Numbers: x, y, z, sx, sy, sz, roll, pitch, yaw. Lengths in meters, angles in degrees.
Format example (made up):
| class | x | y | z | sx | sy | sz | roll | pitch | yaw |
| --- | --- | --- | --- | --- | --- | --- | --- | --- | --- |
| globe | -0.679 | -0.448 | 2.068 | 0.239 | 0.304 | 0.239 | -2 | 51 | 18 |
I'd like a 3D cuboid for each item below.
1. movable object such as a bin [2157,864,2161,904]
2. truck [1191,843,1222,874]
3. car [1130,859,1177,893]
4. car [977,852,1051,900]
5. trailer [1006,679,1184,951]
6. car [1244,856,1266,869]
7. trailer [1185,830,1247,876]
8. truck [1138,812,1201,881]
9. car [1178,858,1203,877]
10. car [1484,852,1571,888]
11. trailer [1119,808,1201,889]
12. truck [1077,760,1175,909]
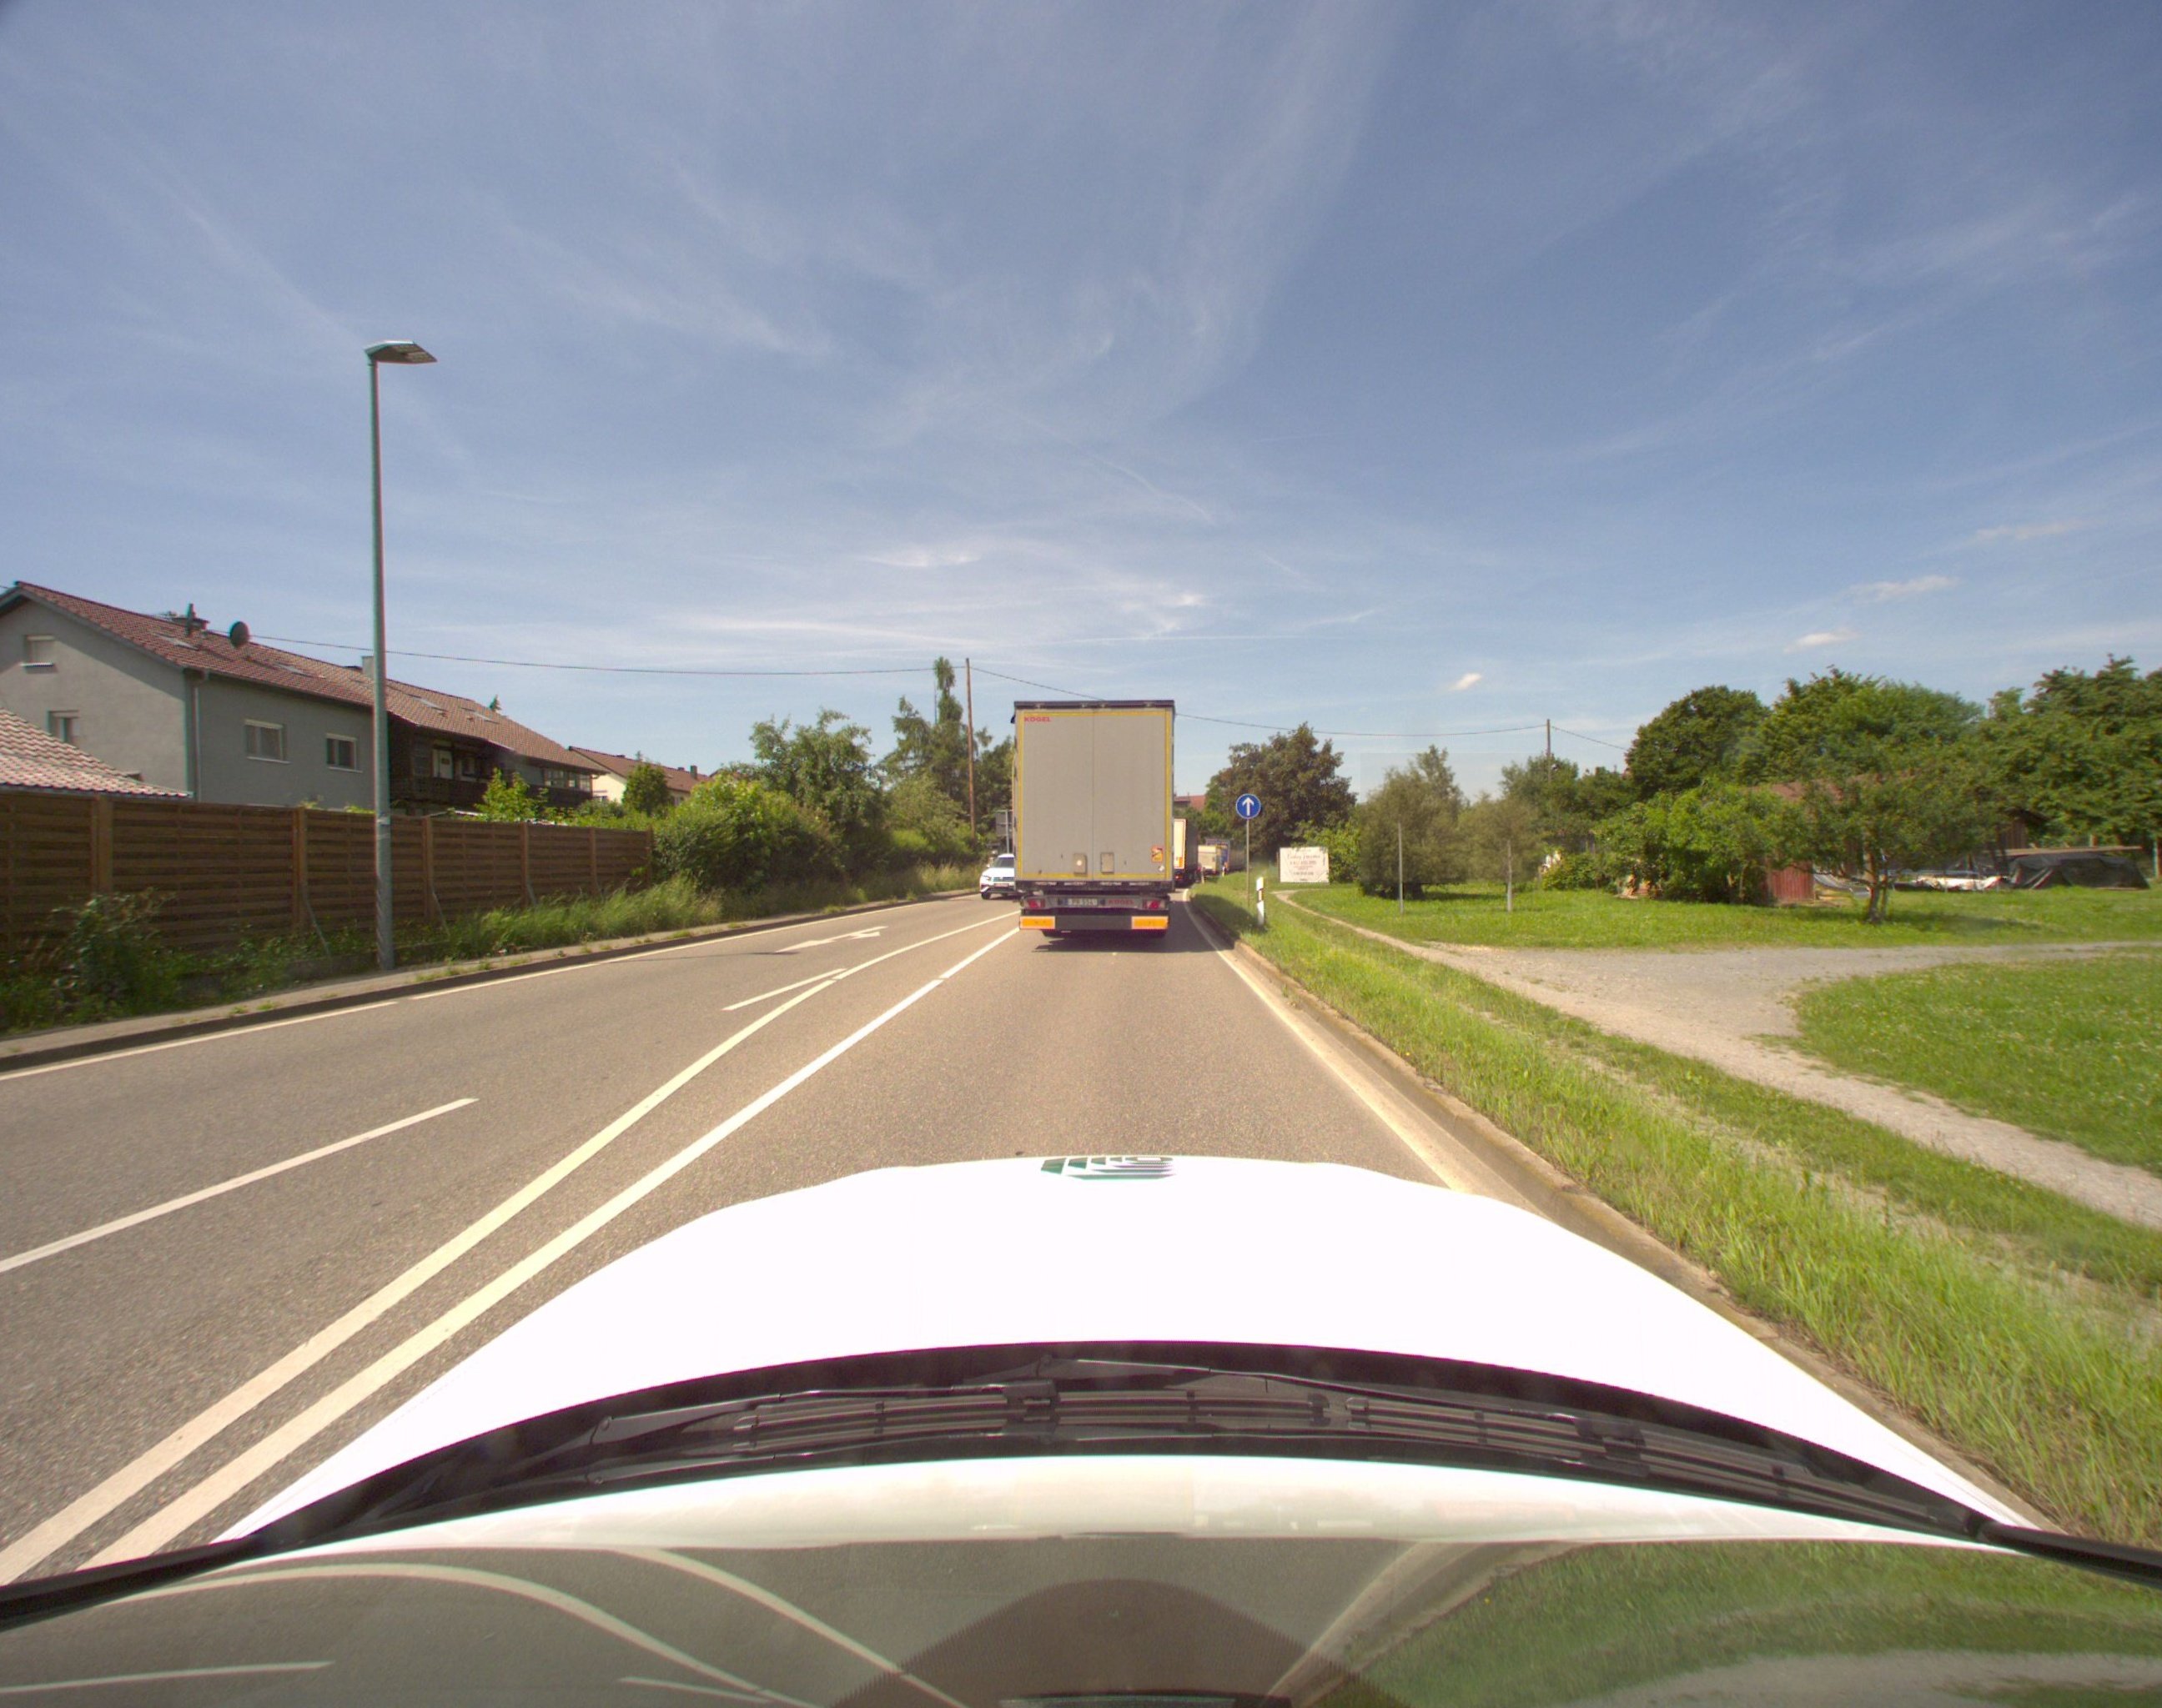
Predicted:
| class | x | y | z | sx | sy | sz | roll | pitch | yaw |
| --- | --- | --- | --- | --- | --- | --- | --- | --- | --- |
| movable object such as a bin | 28.919 | 0.783 | 21.008 | 1.039 | 1.033 | 1.059 | 0 | 0 | -12 |
| truck | 11.933 | 0.369 | 77.136 | 2.403 | 2.838 | 5.433 | 0 | 0 | 14 |
| car | 3.610 | 1.034 | 39.839 | 1.982 | 1.530 | 4.010 | 0 | 0 | 9 |
| car | -2.437 | 0.769 | 30.742 | 1.835 | 1.655 | 4.414 | 0 | 0 | 8 |
| trailer | 0.825 | -0.620 | 18.756 | 2.773 | 4.205 | 12.130 | 0 | 0 | 6 |
| car | 23.082 | 1.098 | 107.944 | 1.975 | 1.684 | 4.024 | 0 | 0 | 26 |
| trailer | 15.320 | -0.153 | 90.754 | 5.141 | 4.628 | 15.961 | 0 | 0 | 15 |
| truck | 6.476 | -0.476 | 58.559 | 3.912 | 4.575 | 7.173 | -1 | -1 | 11 |
| car | 9.185 | 1.103 | 68.113 | 1.829 | 1.486 | 4.013 | 0 | 0 | 12 |
| car | 25.495 | 0.898 | 46.654 | 3.963 | 2.013 | 2.006 | 0 | 0 | 10 |
| trailer | 5.307 | -0.248 | 51.649 | 3.865 | 4.521 | 12.753 | -1 | 0 | 11 |
| truck | 1.606 | -0.551 | 25.927 | 2.732 | 4.165 | 6.154 | 0 | 0 | 6 |
